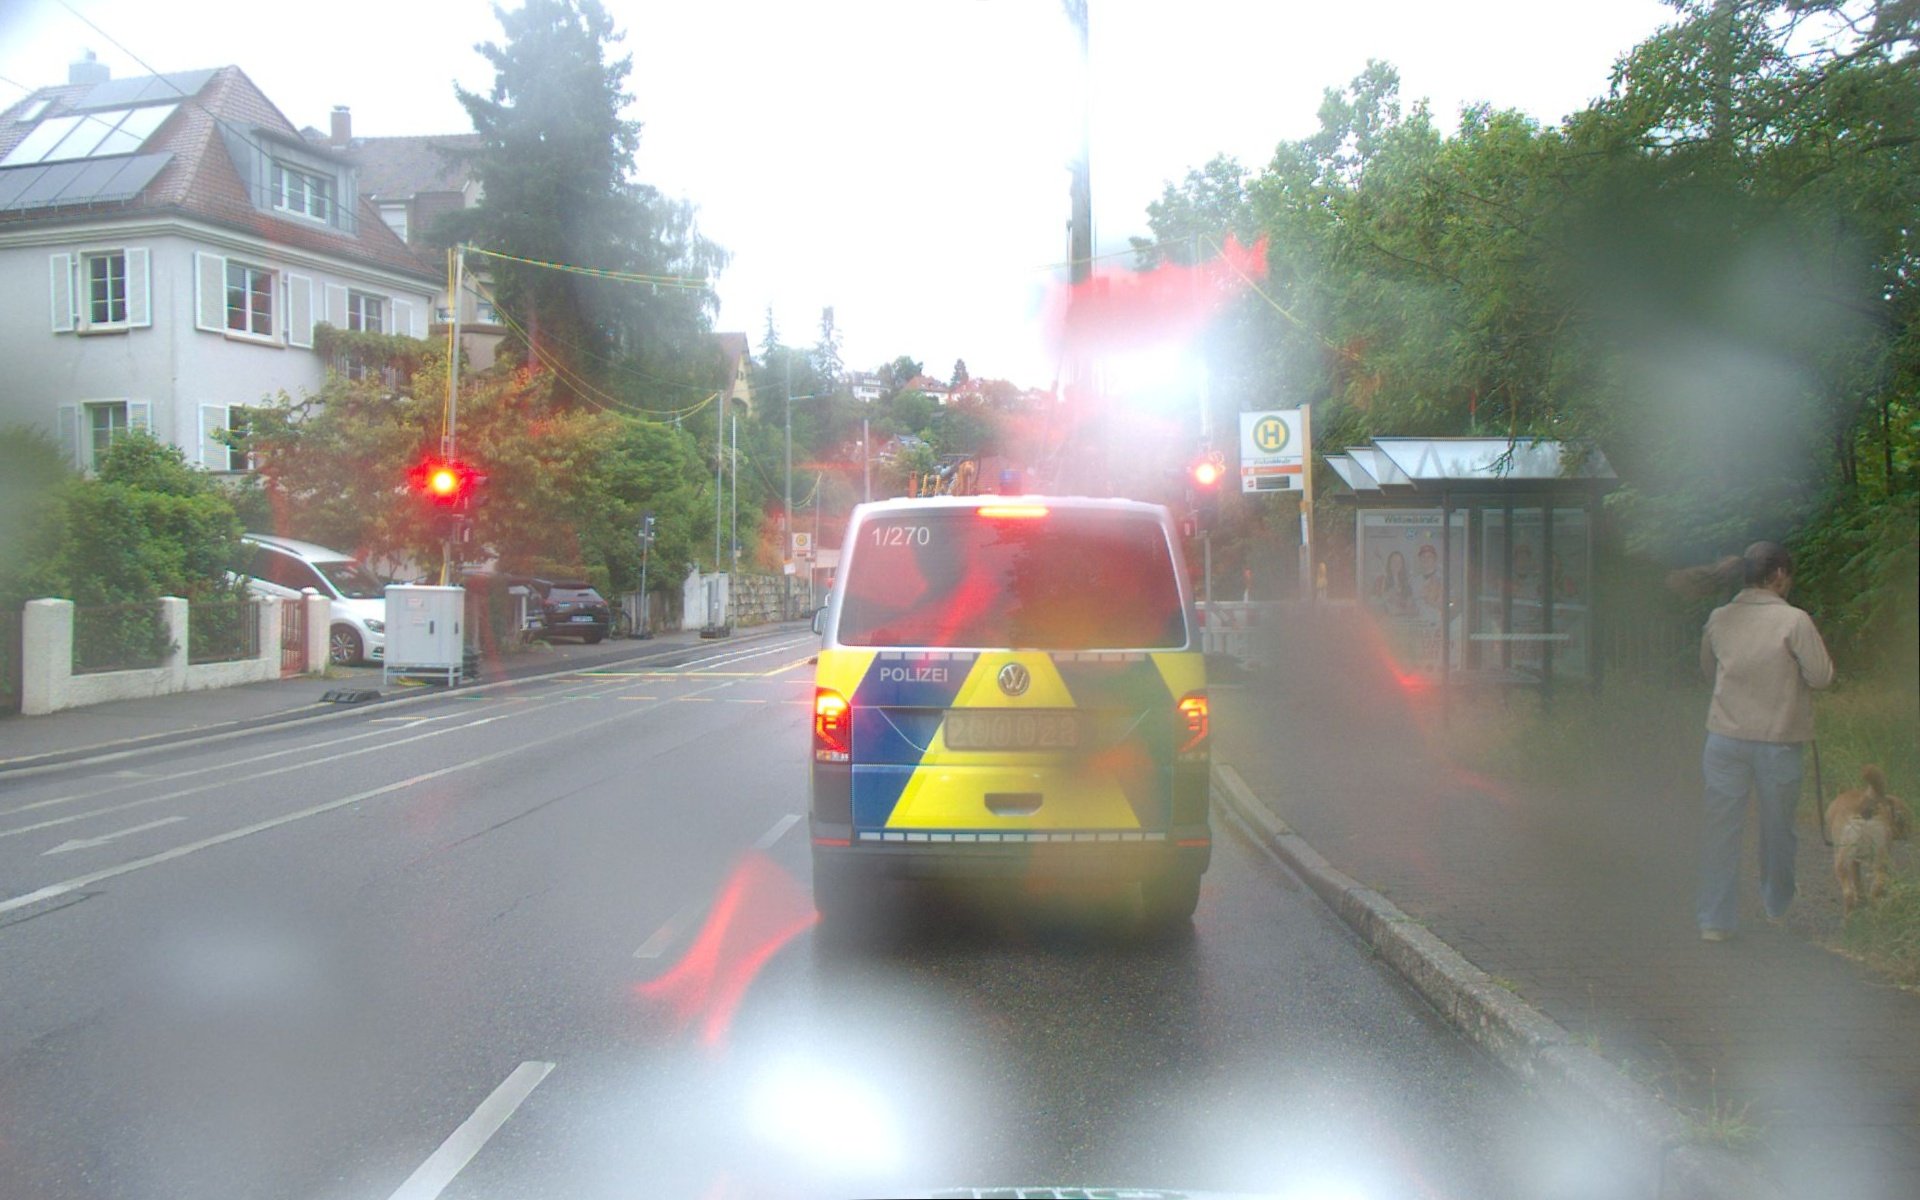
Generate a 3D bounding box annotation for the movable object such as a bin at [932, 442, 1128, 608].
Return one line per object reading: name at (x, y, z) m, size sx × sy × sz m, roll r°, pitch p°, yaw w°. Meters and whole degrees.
movable object such as a bin at (2.487, -2.374, 55.917) m, size 3.615 × 5.155 × 7.147 m, roll -1°, pitch -1°, yaw 31°

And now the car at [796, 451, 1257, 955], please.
car at (0.246, 0.434, 9.031) m, size 1.869 × 2.046 × 4.438 m, roll 1°, pitch 0°, yaw -1°

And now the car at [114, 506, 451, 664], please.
car at (-11.216, -0.283, 27.457) m, size 4.865 × 1.642 × 1.865 m, roll 11°, pitch 4°, yaw 13°

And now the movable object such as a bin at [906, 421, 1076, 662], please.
movable object such as a bin at (0.704, -1.079, 31.687) m, size 2.817 × 4.243 × 4.491 m, roll -1°, pitch 1°, yaw 6°

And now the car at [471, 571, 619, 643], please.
car at (-9.491, 0.135, 37.673) m, size 1.769 × 1.552 × 3.943 m, roll 1°, pitch 0°, yaw -39°

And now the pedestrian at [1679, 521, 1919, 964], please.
pedestrian at (3.421, 0.528, 6.623) m, size 0.745 × 1.632 × 0.722 m, roll 1°, pitch -1°, yaw -39°

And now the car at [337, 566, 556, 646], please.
car at (-10.718, 0.118, 34.615) m, size 3.902 × 1.552 × 1.942 m, roll 1°, pitch 0°, yaw 12°
